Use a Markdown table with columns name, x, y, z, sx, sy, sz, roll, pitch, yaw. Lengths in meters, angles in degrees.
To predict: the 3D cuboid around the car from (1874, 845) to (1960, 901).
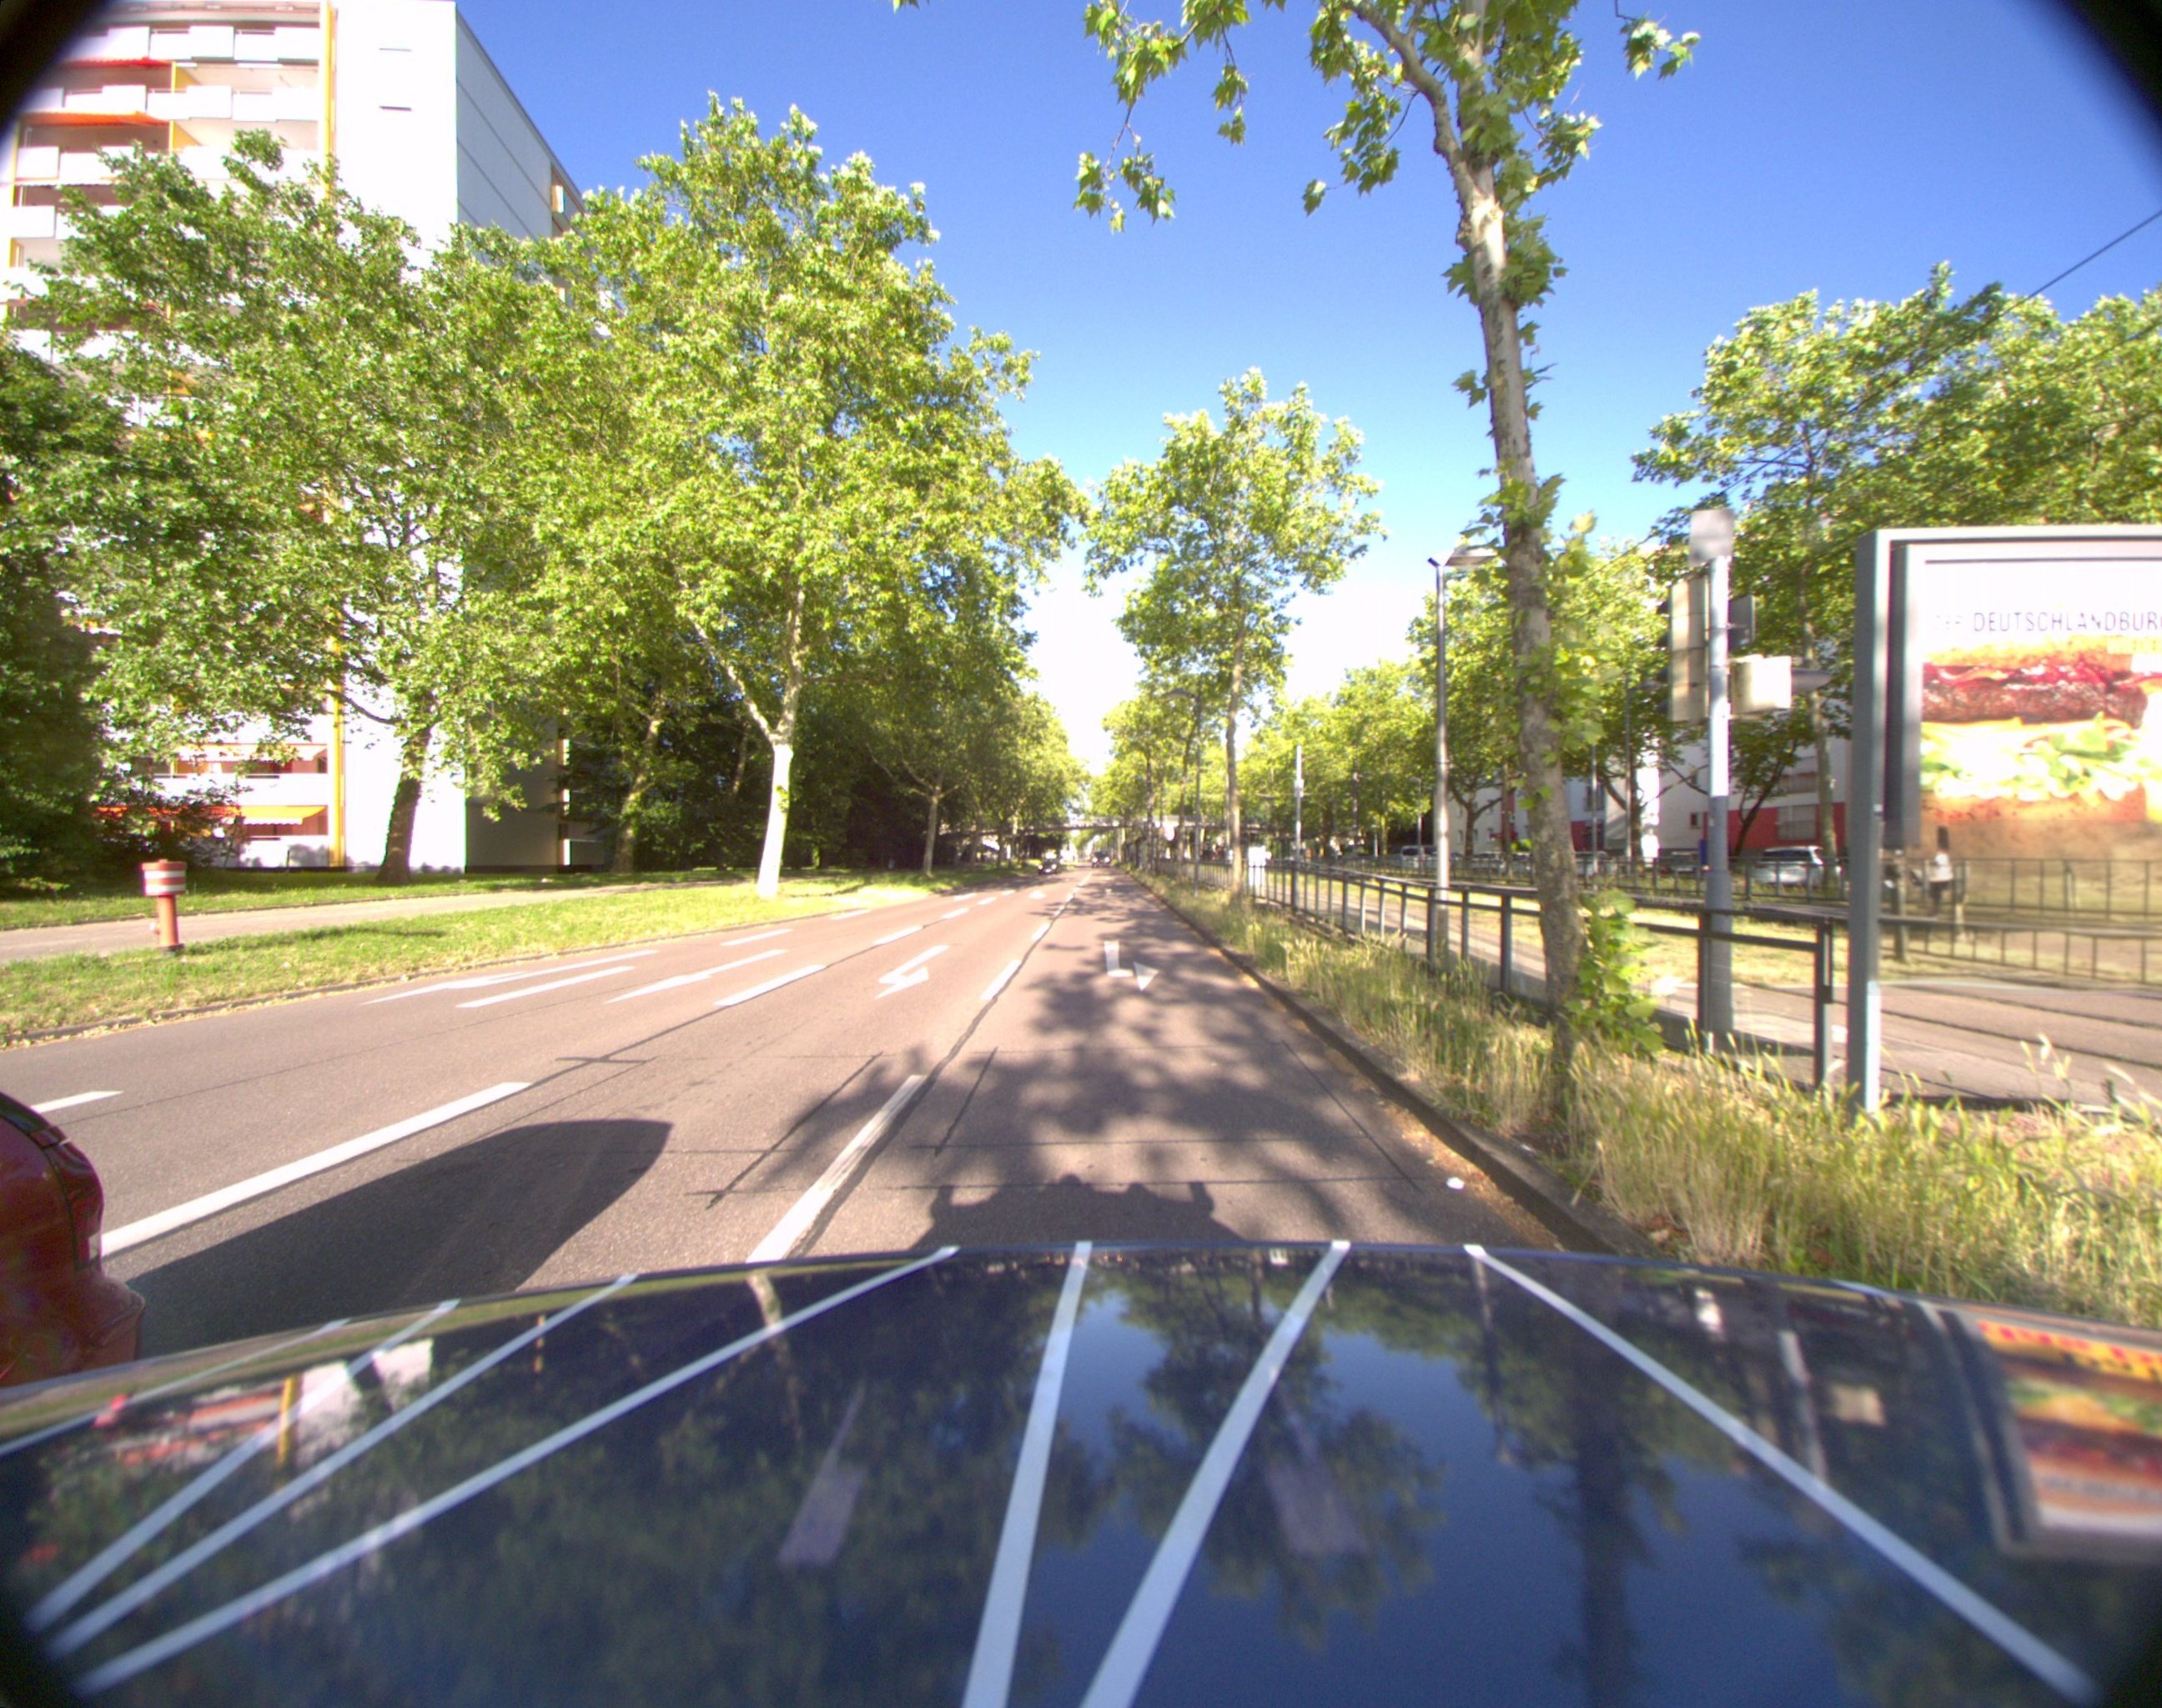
| name | x | y | z | sx | sy | sz | roll | pitch | yaw |
| --- | --- | --- | --- | --- | --- | --- | --- | --- | --- |
| car | 25.248 | 0.525 | 22.959 | 3.811 | 1.501 | 1.652 | -2 | 0 | -42 |

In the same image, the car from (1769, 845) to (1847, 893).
| name | x | y | z | sx | sy | sz | roll | pitch | yaw |
| --- | --- | --- | --- | --- | --- | --- | --- | --- | --- |
| car | 25.361 | 0.490 | 26.467 | 3.811 | 1.501 | 1.652 | -2 | 0 | -42 |

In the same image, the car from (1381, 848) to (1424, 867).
| name | x | y | z | sx | sy | sz | roll | pitch | yaw |
| --- | --- | --- | --- | --- | --- | --- | --- | --- | --- |
| car | 25.733 | 0.271 | 60.744 | 3.811 | 1.433 | 1.652 | -2 | 0 | -42 |

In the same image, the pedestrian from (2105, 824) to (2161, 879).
| name | x | y | z | sx | sy | sz | roll | pitch | yaw |
| --- | --- | --- | --- | --- | --- | --- | --- | --- | --- |
| pedestrian | 34.487 | -0.085 | 24.905 | 0.764 | 1.723 | 0.786 | -2 | 1 | -1 |

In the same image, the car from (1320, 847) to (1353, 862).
| name | x | y | z | sx | sy | sz | roll | pitch | yaw |
| --- | --- | --- | --- | --- | --- | --- | --- | --- | --- |
| car | 26.790 | 0.047 | 79.617 | 3.811 | 1.433 | 1.652 | -2 | 0 | -42 |

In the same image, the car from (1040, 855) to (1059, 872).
| name | x | y | z | sx | sy | sz | roll | pitch | yaw |
| --- | --- | --- | --- | --- | --- | --- | --- | --- | --- |
| car | -2.800 | 0.833 | 67.892 | 1.580 | 1.395 | 3.638 | -2 | 0 | 0 |

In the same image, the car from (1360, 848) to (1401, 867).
| name | x | y | z | sx | sy | sz | roll | pitch | yaw |
| --- | --- | --- | --- | --- | --- | --- | --- | --- | --- |
| car | 24.947 | 0.274 | 63.201 | 3.811 | 1.433 | 1.652 | -2 | 0 | -42 |

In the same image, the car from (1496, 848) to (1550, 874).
| name | x | y | z | sx | sy | sz | roll | pitch | yaw |
| --- | --- | --- | --- | --- | --- | --- | --- | --- | --- |
| car | 26.102 | 0.408 | 44.856 | 3.811 | 1.433 | 1.652 | -2 | 0 | -42 |

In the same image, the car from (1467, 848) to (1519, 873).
| name | x | y | z | sx | sy | sz | roll | pitch | yaw |
| --- | --- | --- | --- | --- | --- | --- | --- | --- | --- |
| car | 25.855 | 0.399 | 47.671 | 3.811 | 1.433 | 1.652 | -2 | 0 | -42 |

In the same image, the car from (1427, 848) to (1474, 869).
| name | x | y | z | sx | sy | sz | roll | pitch | yaw |
| --- | --- | --- | --- | --- | --- | --- | --- | --- | --- |
| car | 26.306 | 0.312 | 54.024 | 3.811 | 1.433 | 1.652 | -2 | 0 | -42 |

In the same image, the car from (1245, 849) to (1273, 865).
| name | x | y | z | sx | sy | sz | roll | pitch | yaw |
| --- | --- | --- | --- | --- | --- | --- | --- | --- | --- |
| car | 21.131 | 0.309 | 90.578 | 1.832 | 1.811 | 4.900 | -2 | 0 | -4 |

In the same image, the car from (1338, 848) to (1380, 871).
| name | x | y | z | sx | sy | sz | roll | pitch | yaw |
| --- | --- | --- | --- | --- | --- | --- | --- | --- | --- |
| car | 20.863 | 0.383 | 57.173 | 1.655 | 1.609 | 4.294 | -2 | 0 | 1 |

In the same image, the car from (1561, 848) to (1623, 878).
| name | x | y | z | sx | sy | sz | roll | pitch | yaw |
| --- | --- | --- | --- | --- | --- | --- | --- | --- | --- |
| car | 25.386 | 0.449 | 37.690 | 3.811 | 1.348 | 1.652 | -2 | 0 | -42 |

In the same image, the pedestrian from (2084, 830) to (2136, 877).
| name | x | y | z | sx | sy | sz | roll | pitch | yaw |
| --- | --- | --- | --- | --- | --- | --- | --- | --- | --- |
| pedestrian | 36.474 | -0.012 | 26.948 | 0.764 | 1.614 | 0.786 | -2 | 1 | -1 |

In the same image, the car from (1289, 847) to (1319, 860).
| name | x | y | z | sx | sy | sz | roll | pitch | yaw |
| --- | --- | --- | --- | --- | --- | --- | --- | --- | --- |
| car | 26.442 | -0.046 | 89.967 | 3.811 | 1.433 | 1.652 | -2 | 0 | -42 |

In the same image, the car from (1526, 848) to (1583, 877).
| name | x | y | z | sx | sy | sz | roll | pitch | yaw |
| --- | --- | --- | --- | --- | --- | --- | --- | --- | --- |
| car | 25.867 | 0.444 | 41.471 | 3.811 | 1.433 | 1.652 | -2 | 0 | -42 |

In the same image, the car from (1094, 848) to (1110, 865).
| name | x | y | z | sx | sy | sz | roll | pitch | yaw |
| --- | --- | --- | --- | --- | --- | --- | --- | --- | --- |
| car | 2.604 | 0.298 | 95.056 | 1.906 | 1.924 | 4.720 | -2 | 0 | 2 |

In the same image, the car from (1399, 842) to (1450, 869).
| name | x | y | z | sx | sy | sz | roll | pitch | yaw |
| --- | --- | --- | --- | --- | --- | --- | --- | --- | --- |
| car | 25.822 | 0.091 | 57.022 | 4.330 | 1.863 | 1.836 | -2 | 0 | -42 |
